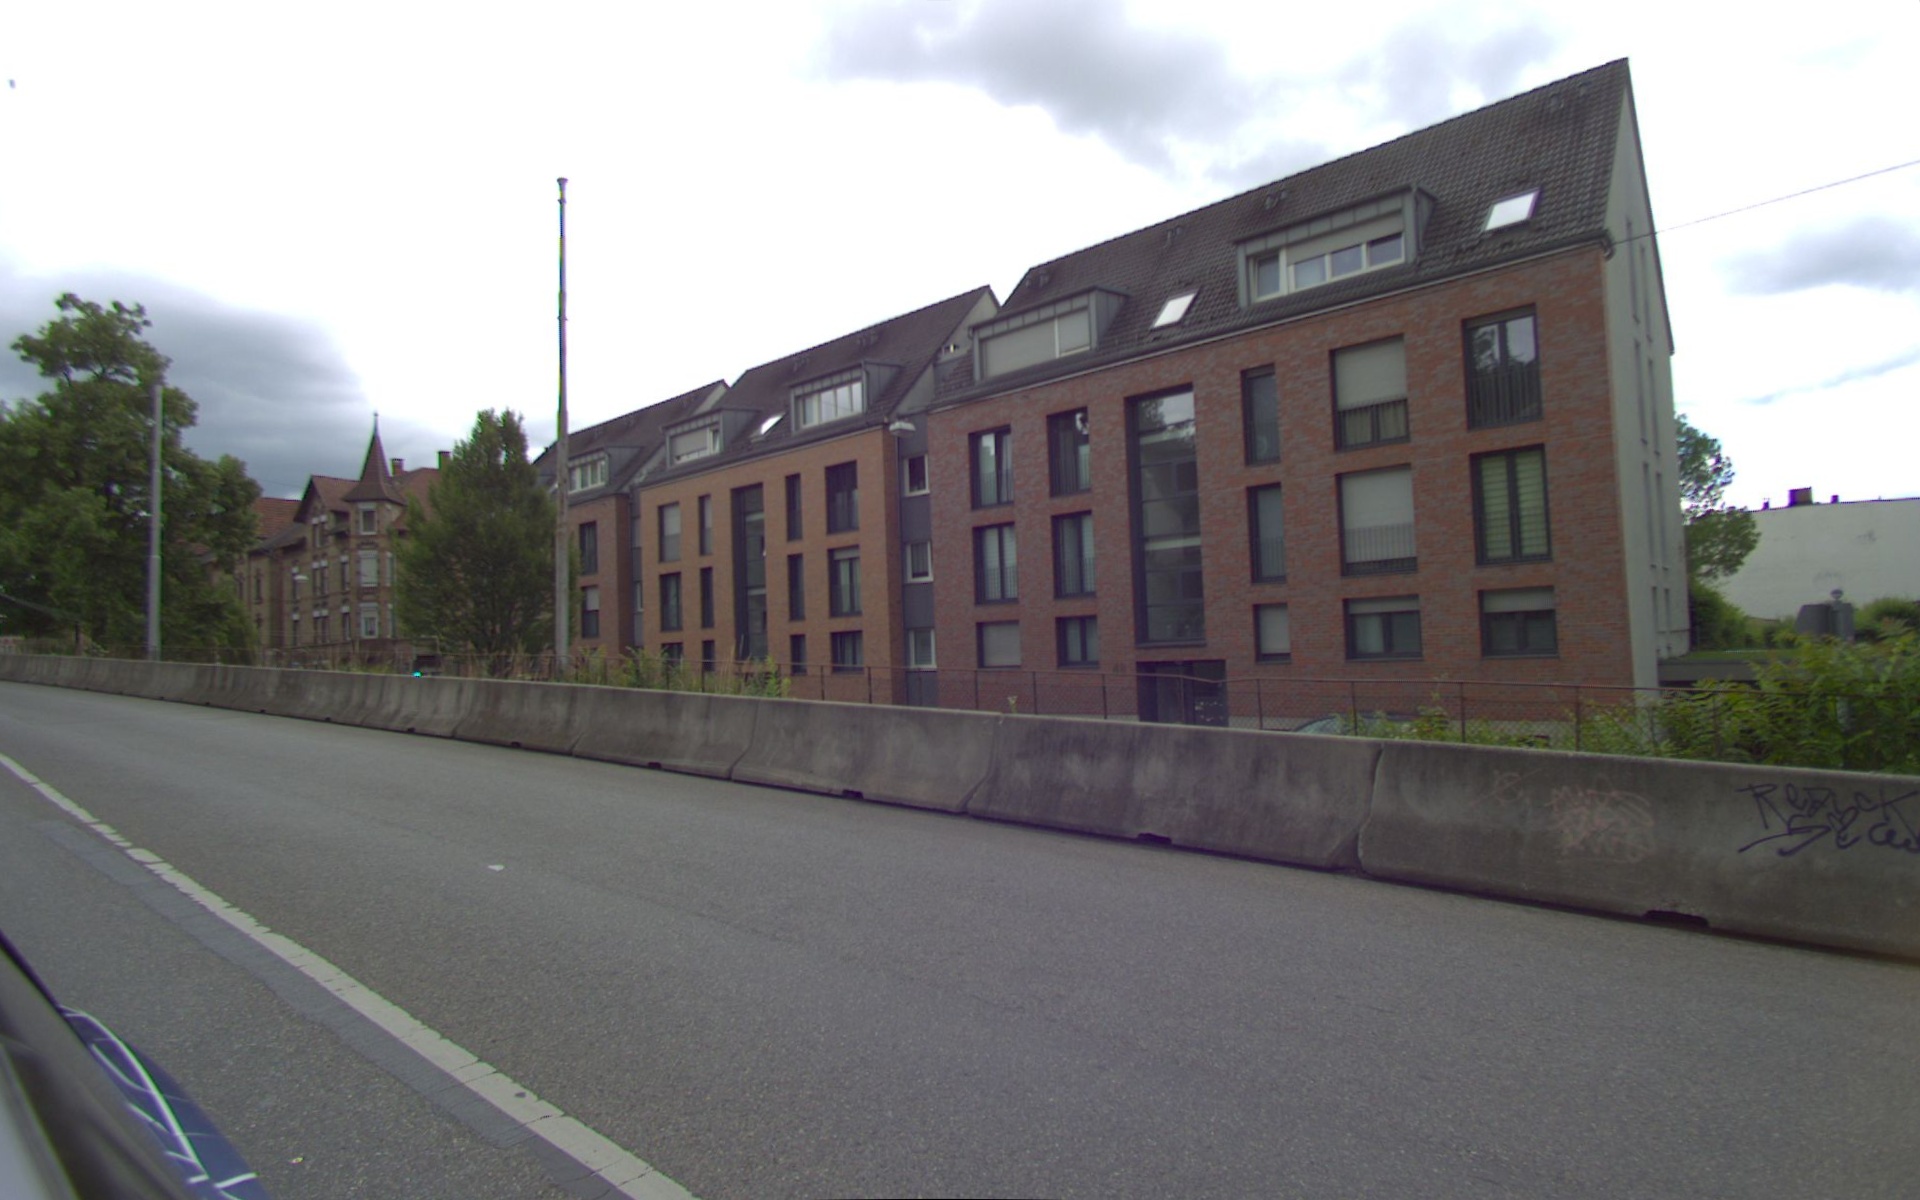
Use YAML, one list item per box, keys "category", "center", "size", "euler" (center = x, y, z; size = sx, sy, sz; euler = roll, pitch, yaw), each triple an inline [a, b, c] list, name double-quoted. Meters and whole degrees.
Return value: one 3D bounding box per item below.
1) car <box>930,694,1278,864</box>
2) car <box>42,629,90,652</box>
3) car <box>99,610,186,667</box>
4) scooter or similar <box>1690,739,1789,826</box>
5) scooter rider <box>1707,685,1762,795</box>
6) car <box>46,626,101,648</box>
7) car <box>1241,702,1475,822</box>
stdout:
- category: "car"
  center: [1.643, 2.027, 12.378]
  size: [3.996, 1.525, 1.519]
  euler: [-2, -1, 39]
- category: "car"
  center: [-62.903, 2.841, 71.215]
  size: [3.997, 1.564, 1.973]
  euler: [-2, -2, 40]
- category: "car"
  center: [-40.424, 1.831, 50.003]
  size: [5.735, 2.601, 2.531]
  euler: [-1, 0, 43]
- category: "scooter or similar"
  center: [12.653, 2.938, 16.450]
  size: [1.226, 1.251, 0.374]
  euler: [-2, -2, 41]
- category: "scooter rider"
  center: [12.614, 2.255, 16.485]
  size: [0.577, 1.718, 0.482]
  euler: [-5, -4, 41]
- category: "car"
  center: [-55.542, 2.331, 63.370]
  size: [3.997, 1.364, 1.973]
  euler: [-2, -3, 40]
- category: "car"
  center: [7.534, 2.987, 19.357]
  size: [3.765, 1.815, 1.696]
  euler: [-3, -1, 41]
